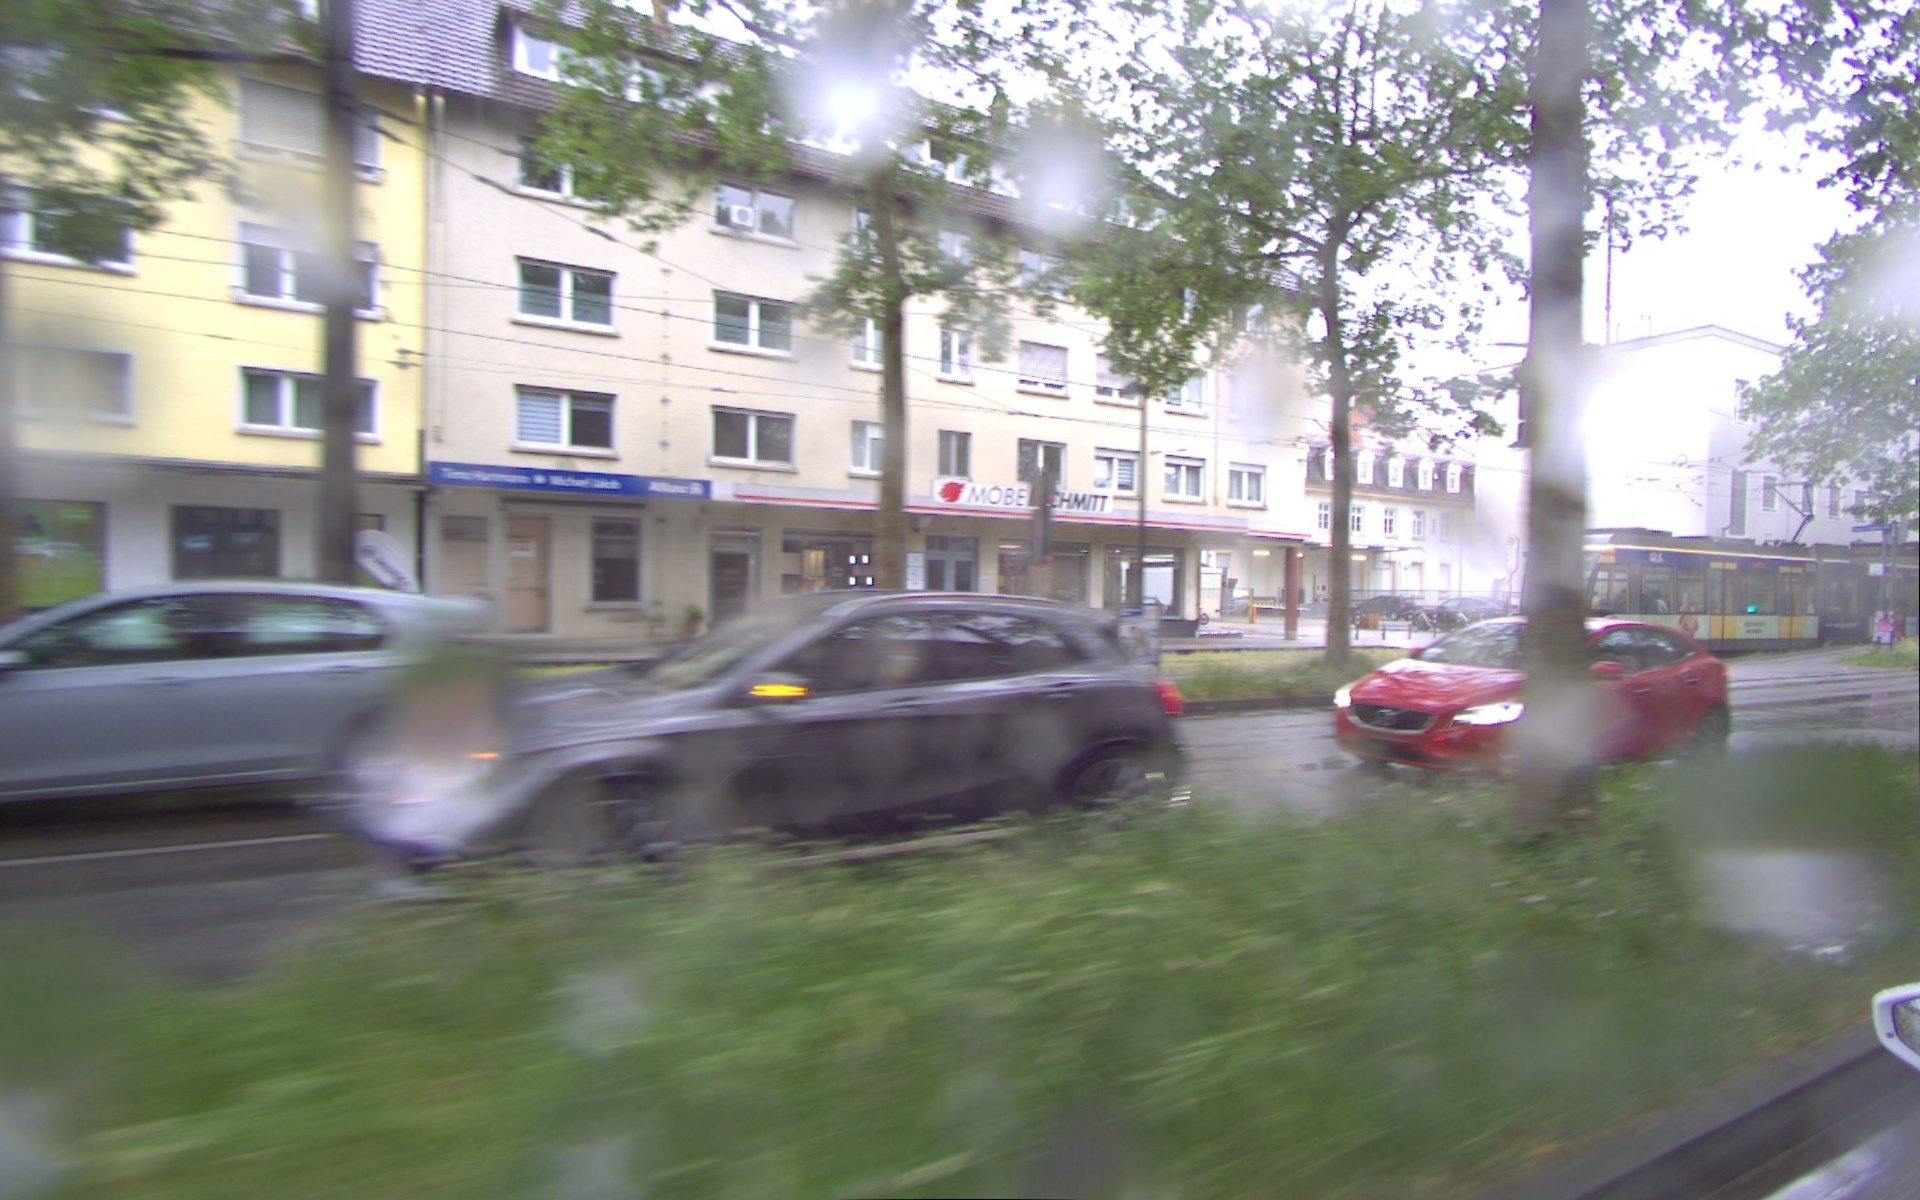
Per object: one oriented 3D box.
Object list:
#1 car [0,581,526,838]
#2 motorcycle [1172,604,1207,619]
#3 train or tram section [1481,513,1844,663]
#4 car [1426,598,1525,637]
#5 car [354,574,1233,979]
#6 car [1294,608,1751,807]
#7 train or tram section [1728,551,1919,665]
[{"bbox_3d":[-5.175,0.606,6.655,4.080,1.416,1.733,1,1,-29],"label":"car"},{"bbox_3d":[11.717,0.563,51.380,1.642,0.719,0.521,2,0,-1],"label":"motorcycle"},{"bbox_3d":[21.251,-0.081,29.769,14.409,3.605,3.091,2,-1,-31],"label":"train or tram section"},{"bbox_3d":[22.754,0.752,44.453,1.588,1.562,3.665,1,1,-25],"label":"car"},{"bbox_3d":[-0.738,0.660,5.550,4.378,1.500,1.733,1,1,-29],"label":"car"},{"bbox_3d":[5.211,0.824,9.204,4.182,1.416,1.733,1,1,-30],"label":"car"},{"bbox_3d":[33.650,0.497,37.121,14.505,3.605,3.091,2,-1,-31],"label":"train or tram section"}]
